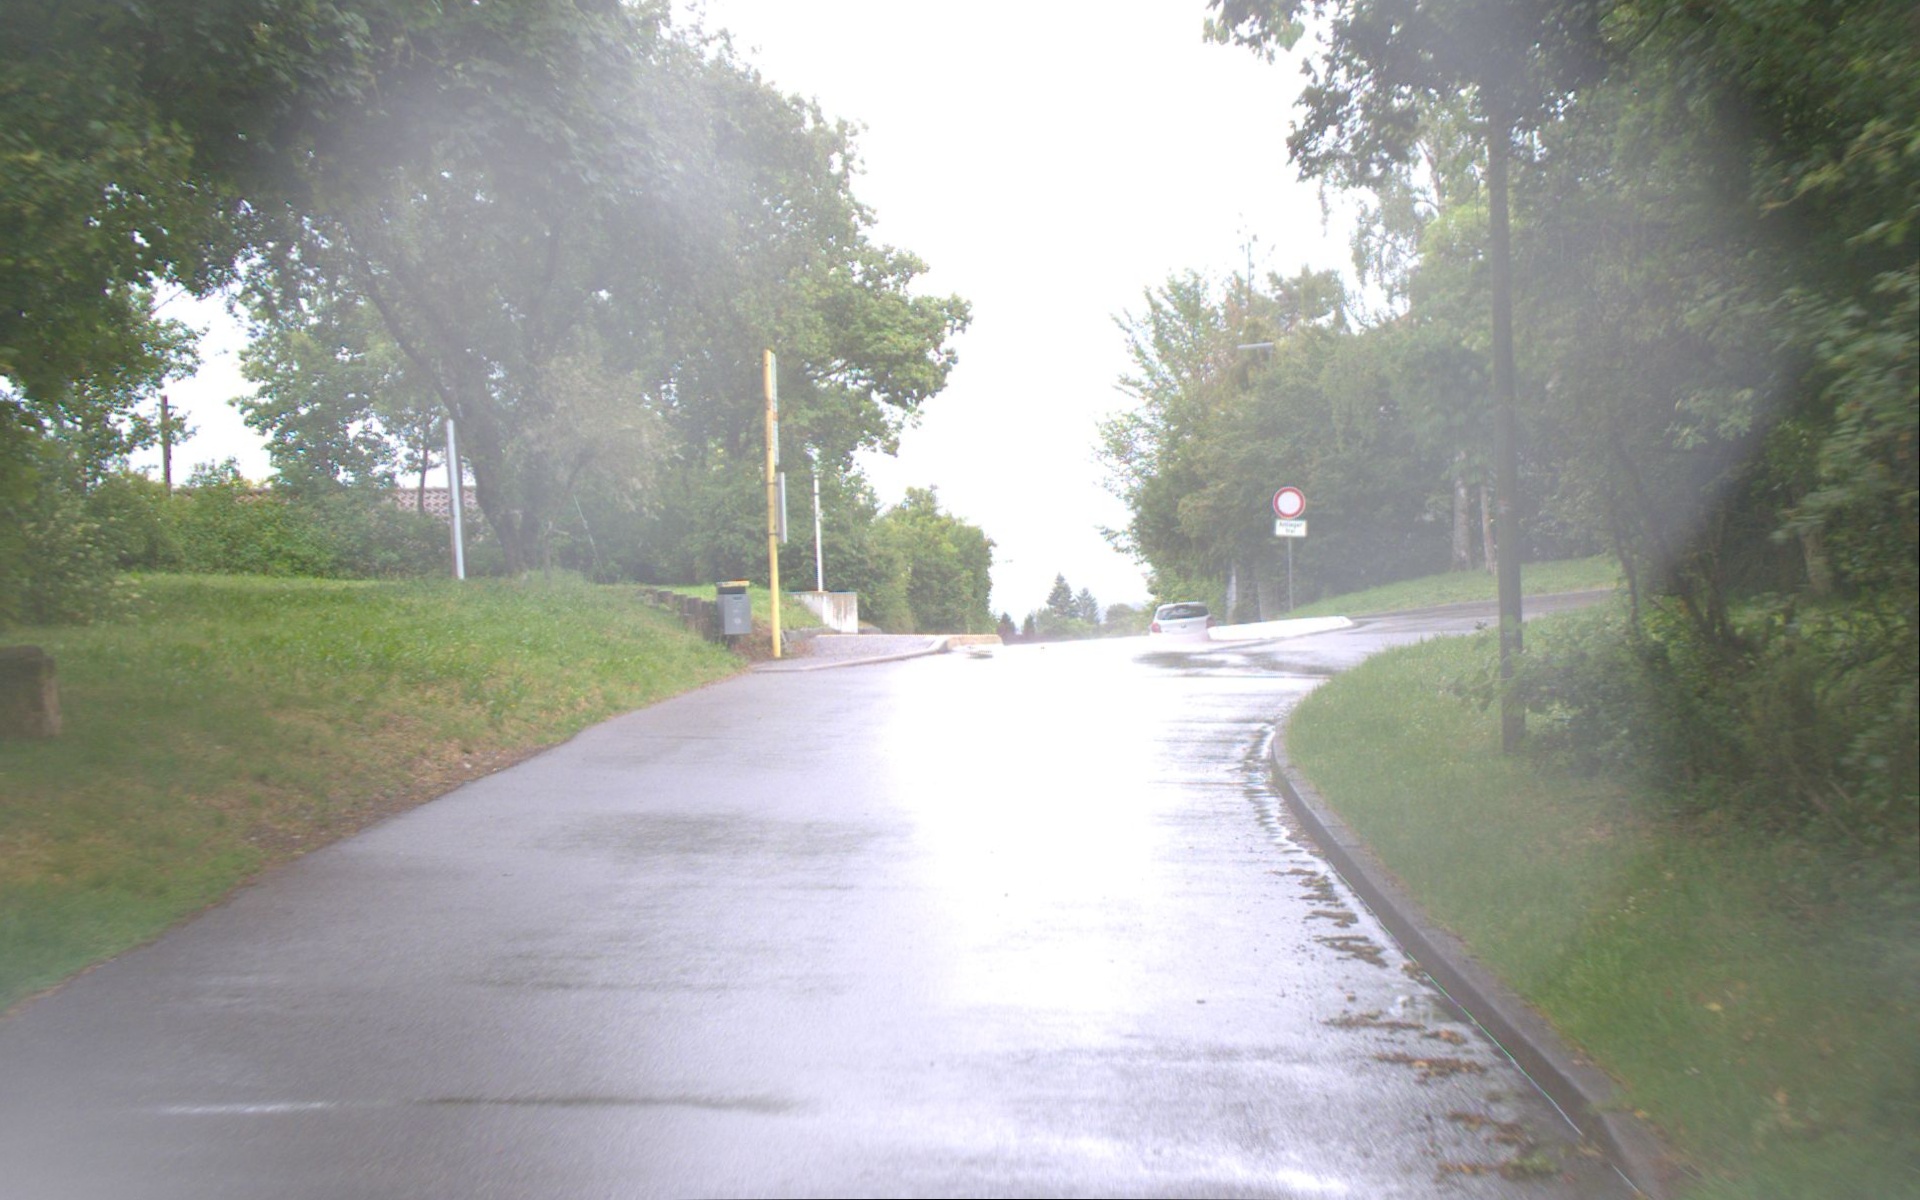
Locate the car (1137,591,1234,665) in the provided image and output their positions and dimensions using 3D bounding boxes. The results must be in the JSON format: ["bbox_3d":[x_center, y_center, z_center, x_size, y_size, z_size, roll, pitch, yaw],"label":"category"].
[{"bbox_3d":[5.466,0.691,82.825,1.994,1.578,3.998,-2,-3,8],"label":"car"}]
